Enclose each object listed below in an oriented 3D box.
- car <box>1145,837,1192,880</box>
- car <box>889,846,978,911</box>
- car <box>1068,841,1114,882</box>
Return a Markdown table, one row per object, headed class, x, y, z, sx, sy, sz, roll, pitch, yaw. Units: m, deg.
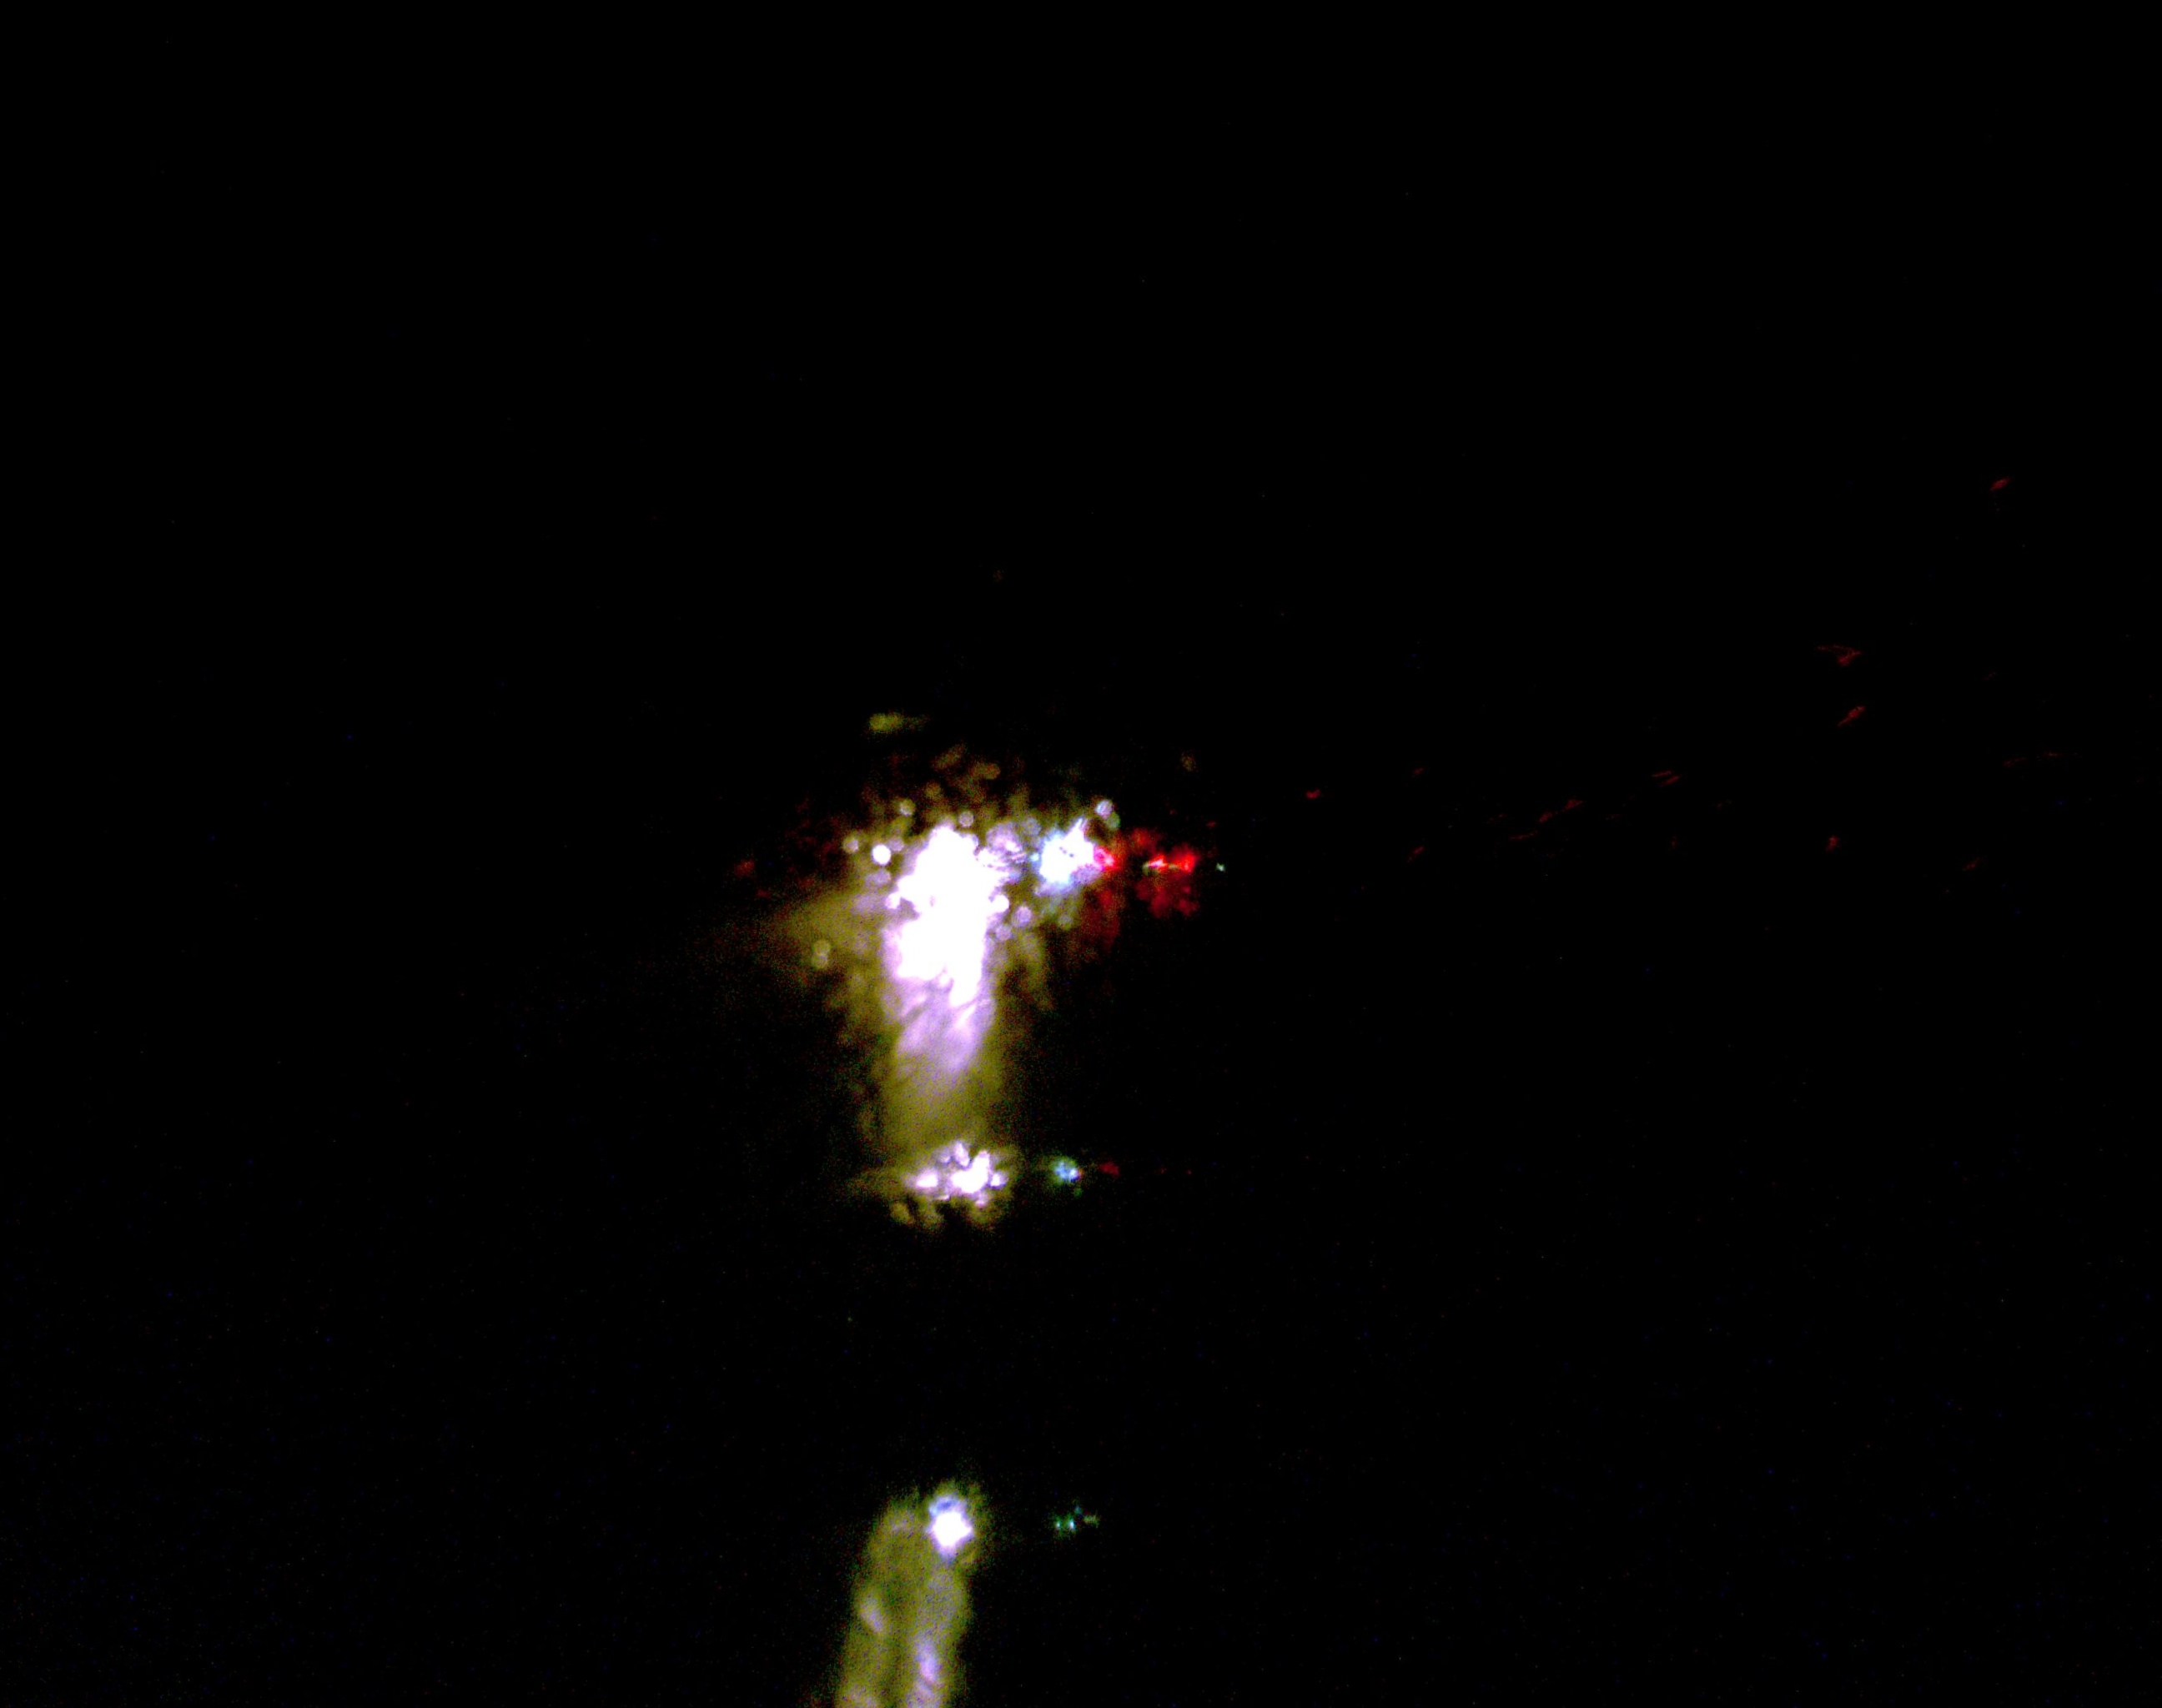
| class | x | y | z | sx | sy | sz | roll | pitch | yaw |
| --- | --- | --- | --- | --- | --- | --- | --- | --- | --- |
| car | 4.341 | 0.203 | 40.830 | 2.085 | 2.013 | 4.002 | 0 | 0 | 2 |
| car | -3.645 | 0.566 | 20.753 | 1.992 | 1.498 | 3.765 | 0 | 0 | -7 |
| car | 0.381 | 0.286 | 34.384 | 1.803 | 1.621 | 3.999 | 0 | 0 | 0 |
